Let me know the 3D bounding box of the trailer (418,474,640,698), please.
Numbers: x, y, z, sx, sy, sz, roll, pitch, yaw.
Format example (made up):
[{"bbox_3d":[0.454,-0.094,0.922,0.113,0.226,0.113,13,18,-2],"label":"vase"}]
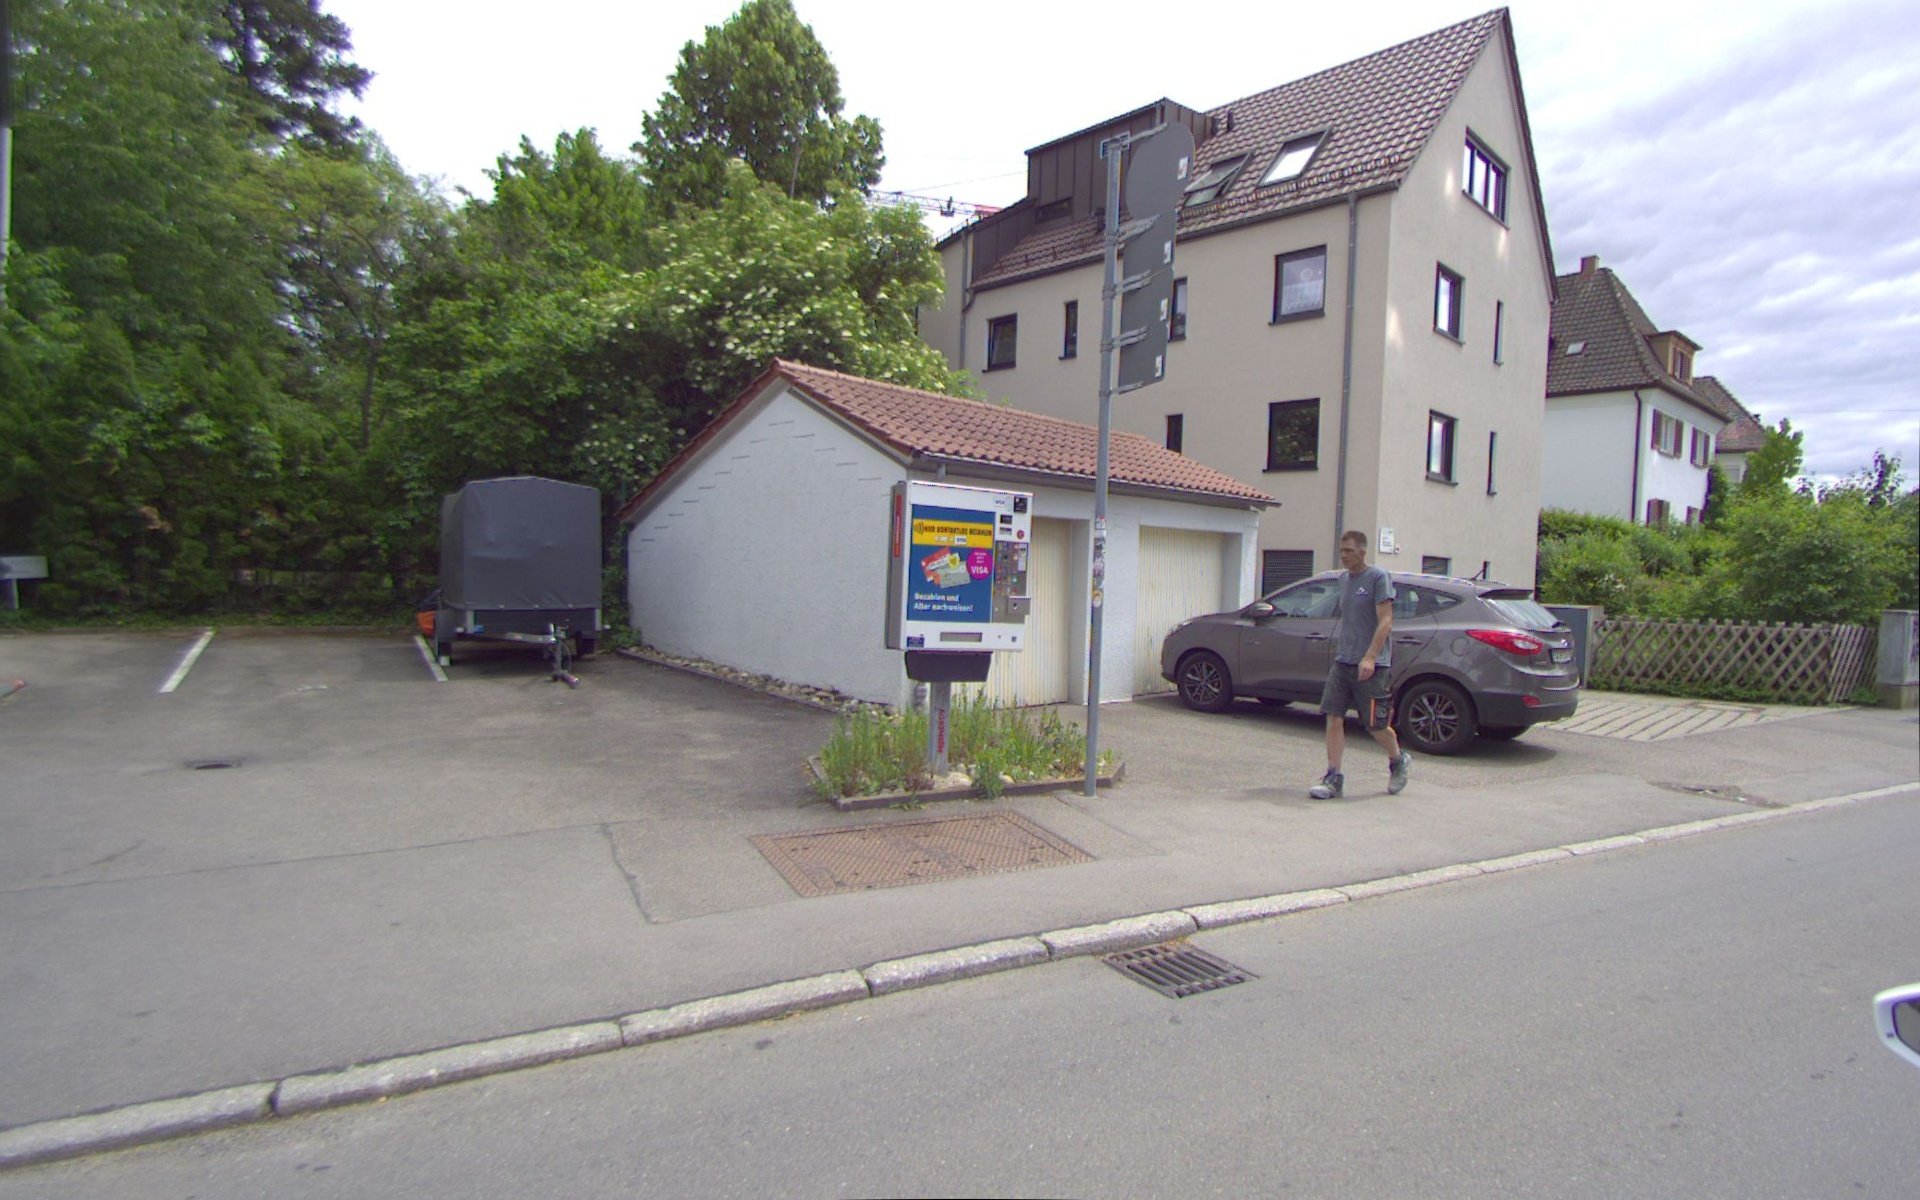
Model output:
[{"bbox_3d":[-5.296,-0.313,11.933,1.685,2.108,4.833,-1,5,-32],"label":"trailer"}]

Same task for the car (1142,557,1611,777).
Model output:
[{"bbox_3d":[4.267,0.525,10.894,1.784,1.718,4.273,1,4,-41],"label":"car"}]

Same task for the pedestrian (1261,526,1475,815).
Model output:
[{"bbox_3d":[3.003,0.481,7.420,1.202,1.972,0.730,2,4,-27],"label":"pedestrian"}]
